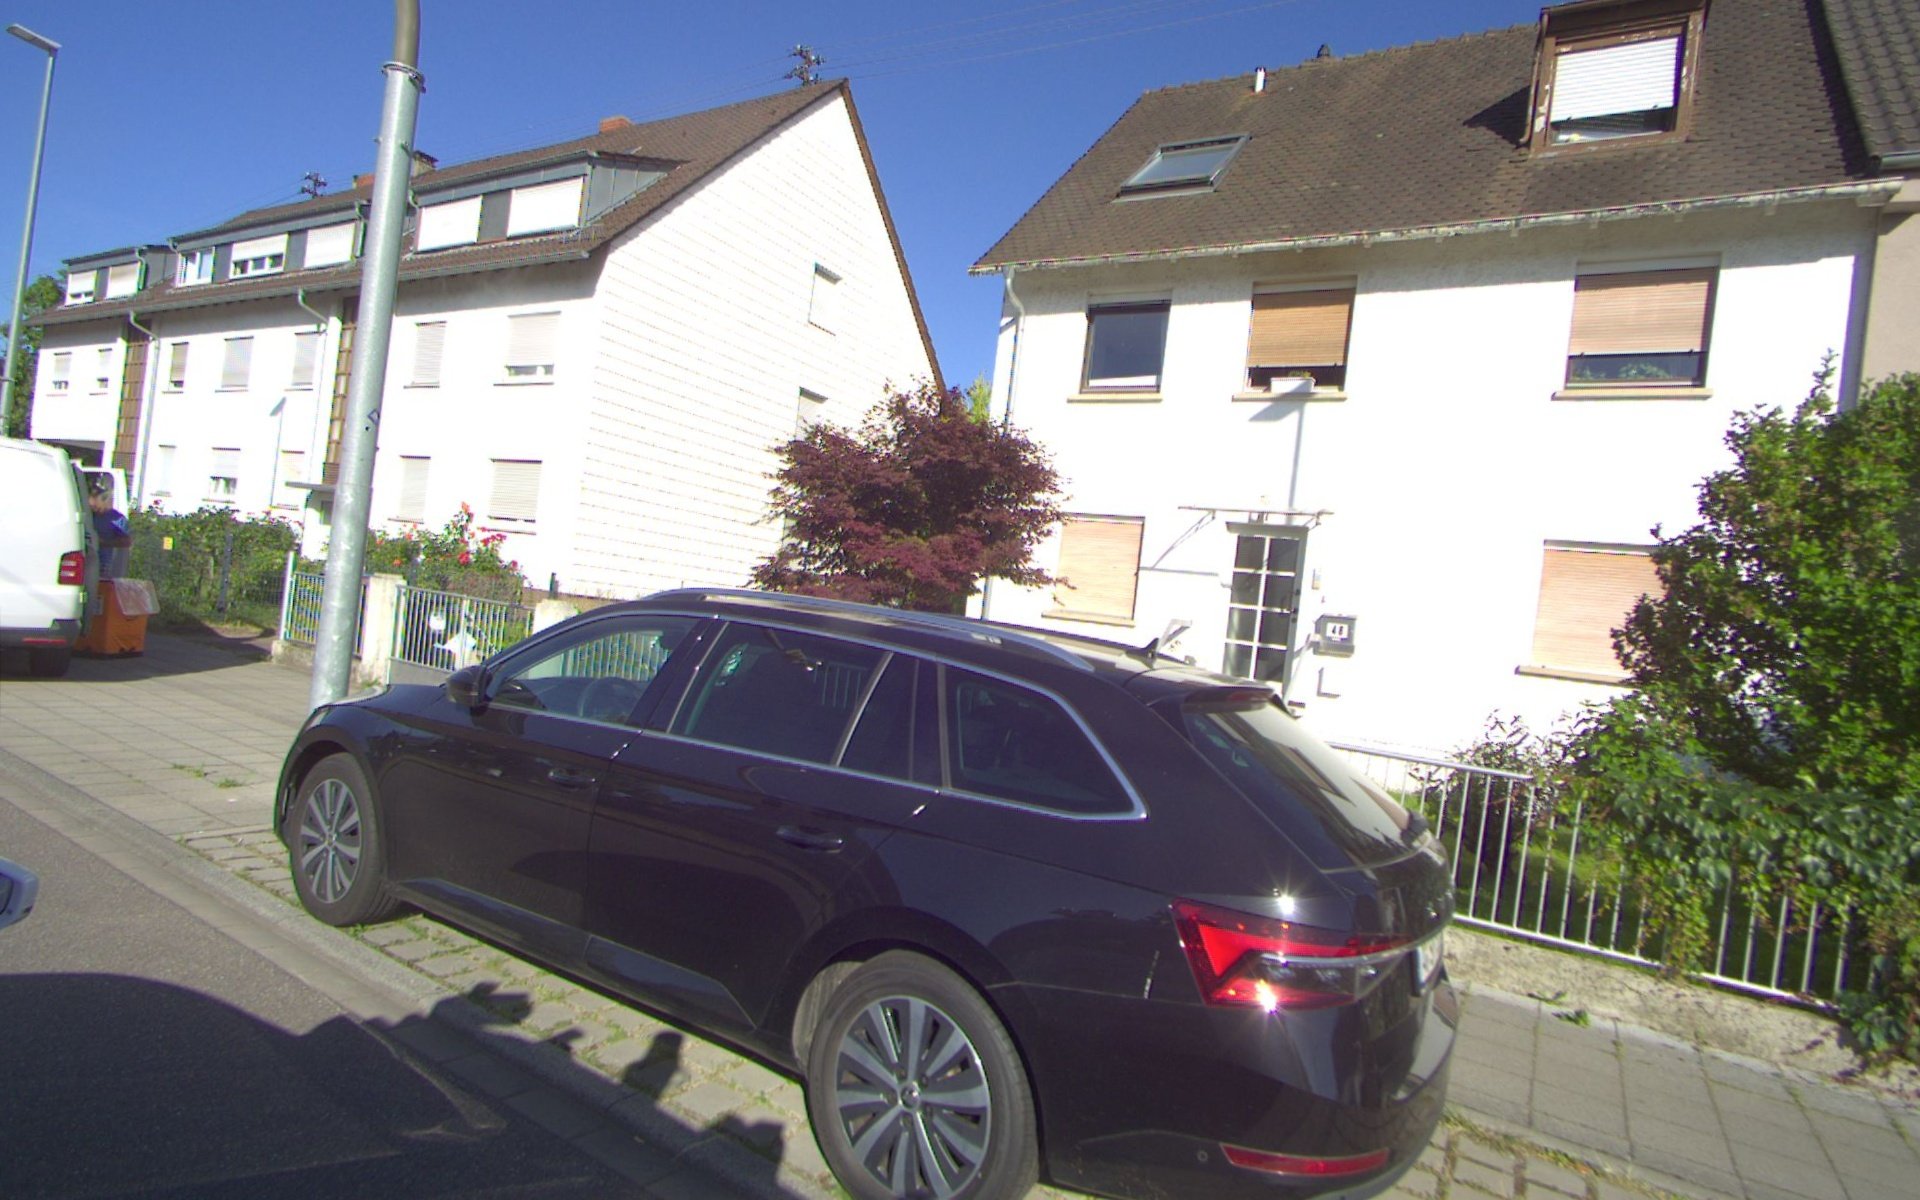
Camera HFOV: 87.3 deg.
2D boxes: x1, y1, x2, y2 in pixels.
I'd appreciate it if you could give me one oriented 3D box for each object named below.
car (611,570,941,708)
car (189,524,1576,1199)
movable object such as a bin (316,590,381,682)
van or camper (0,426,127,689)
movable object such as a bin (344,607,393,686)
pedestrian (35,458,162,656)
[{"bbox_3d":[-2.341,0.628,14.197,1.875,1.495,4.720,6,-2,30],"label":"car"},{"bbox_3d":[-0.723,0.702,3.800,5.070,1.512,1.750,6,0,32],"label":"car"},{"bbox_3d":[-6.625,0.387,10.895,0.587,0.920,0.287,6,-2,35],"label":"movable object such as a bin"},{"bbox_3d":[-9.511,-0.576,9.091,5.218,1.980,2.026,7,-1,40],"label":"van or camper"},{"bbox_3d":[-6.250,0.487,10.631,0.312,0.788,0.253,6,-2,35],"label":"movable object such as a bin"},{"bbox_3d":[-9.037,-0.444,10.556,0.748,1.934,0.698,6,-2,40],"label":"pedestrian"}]
